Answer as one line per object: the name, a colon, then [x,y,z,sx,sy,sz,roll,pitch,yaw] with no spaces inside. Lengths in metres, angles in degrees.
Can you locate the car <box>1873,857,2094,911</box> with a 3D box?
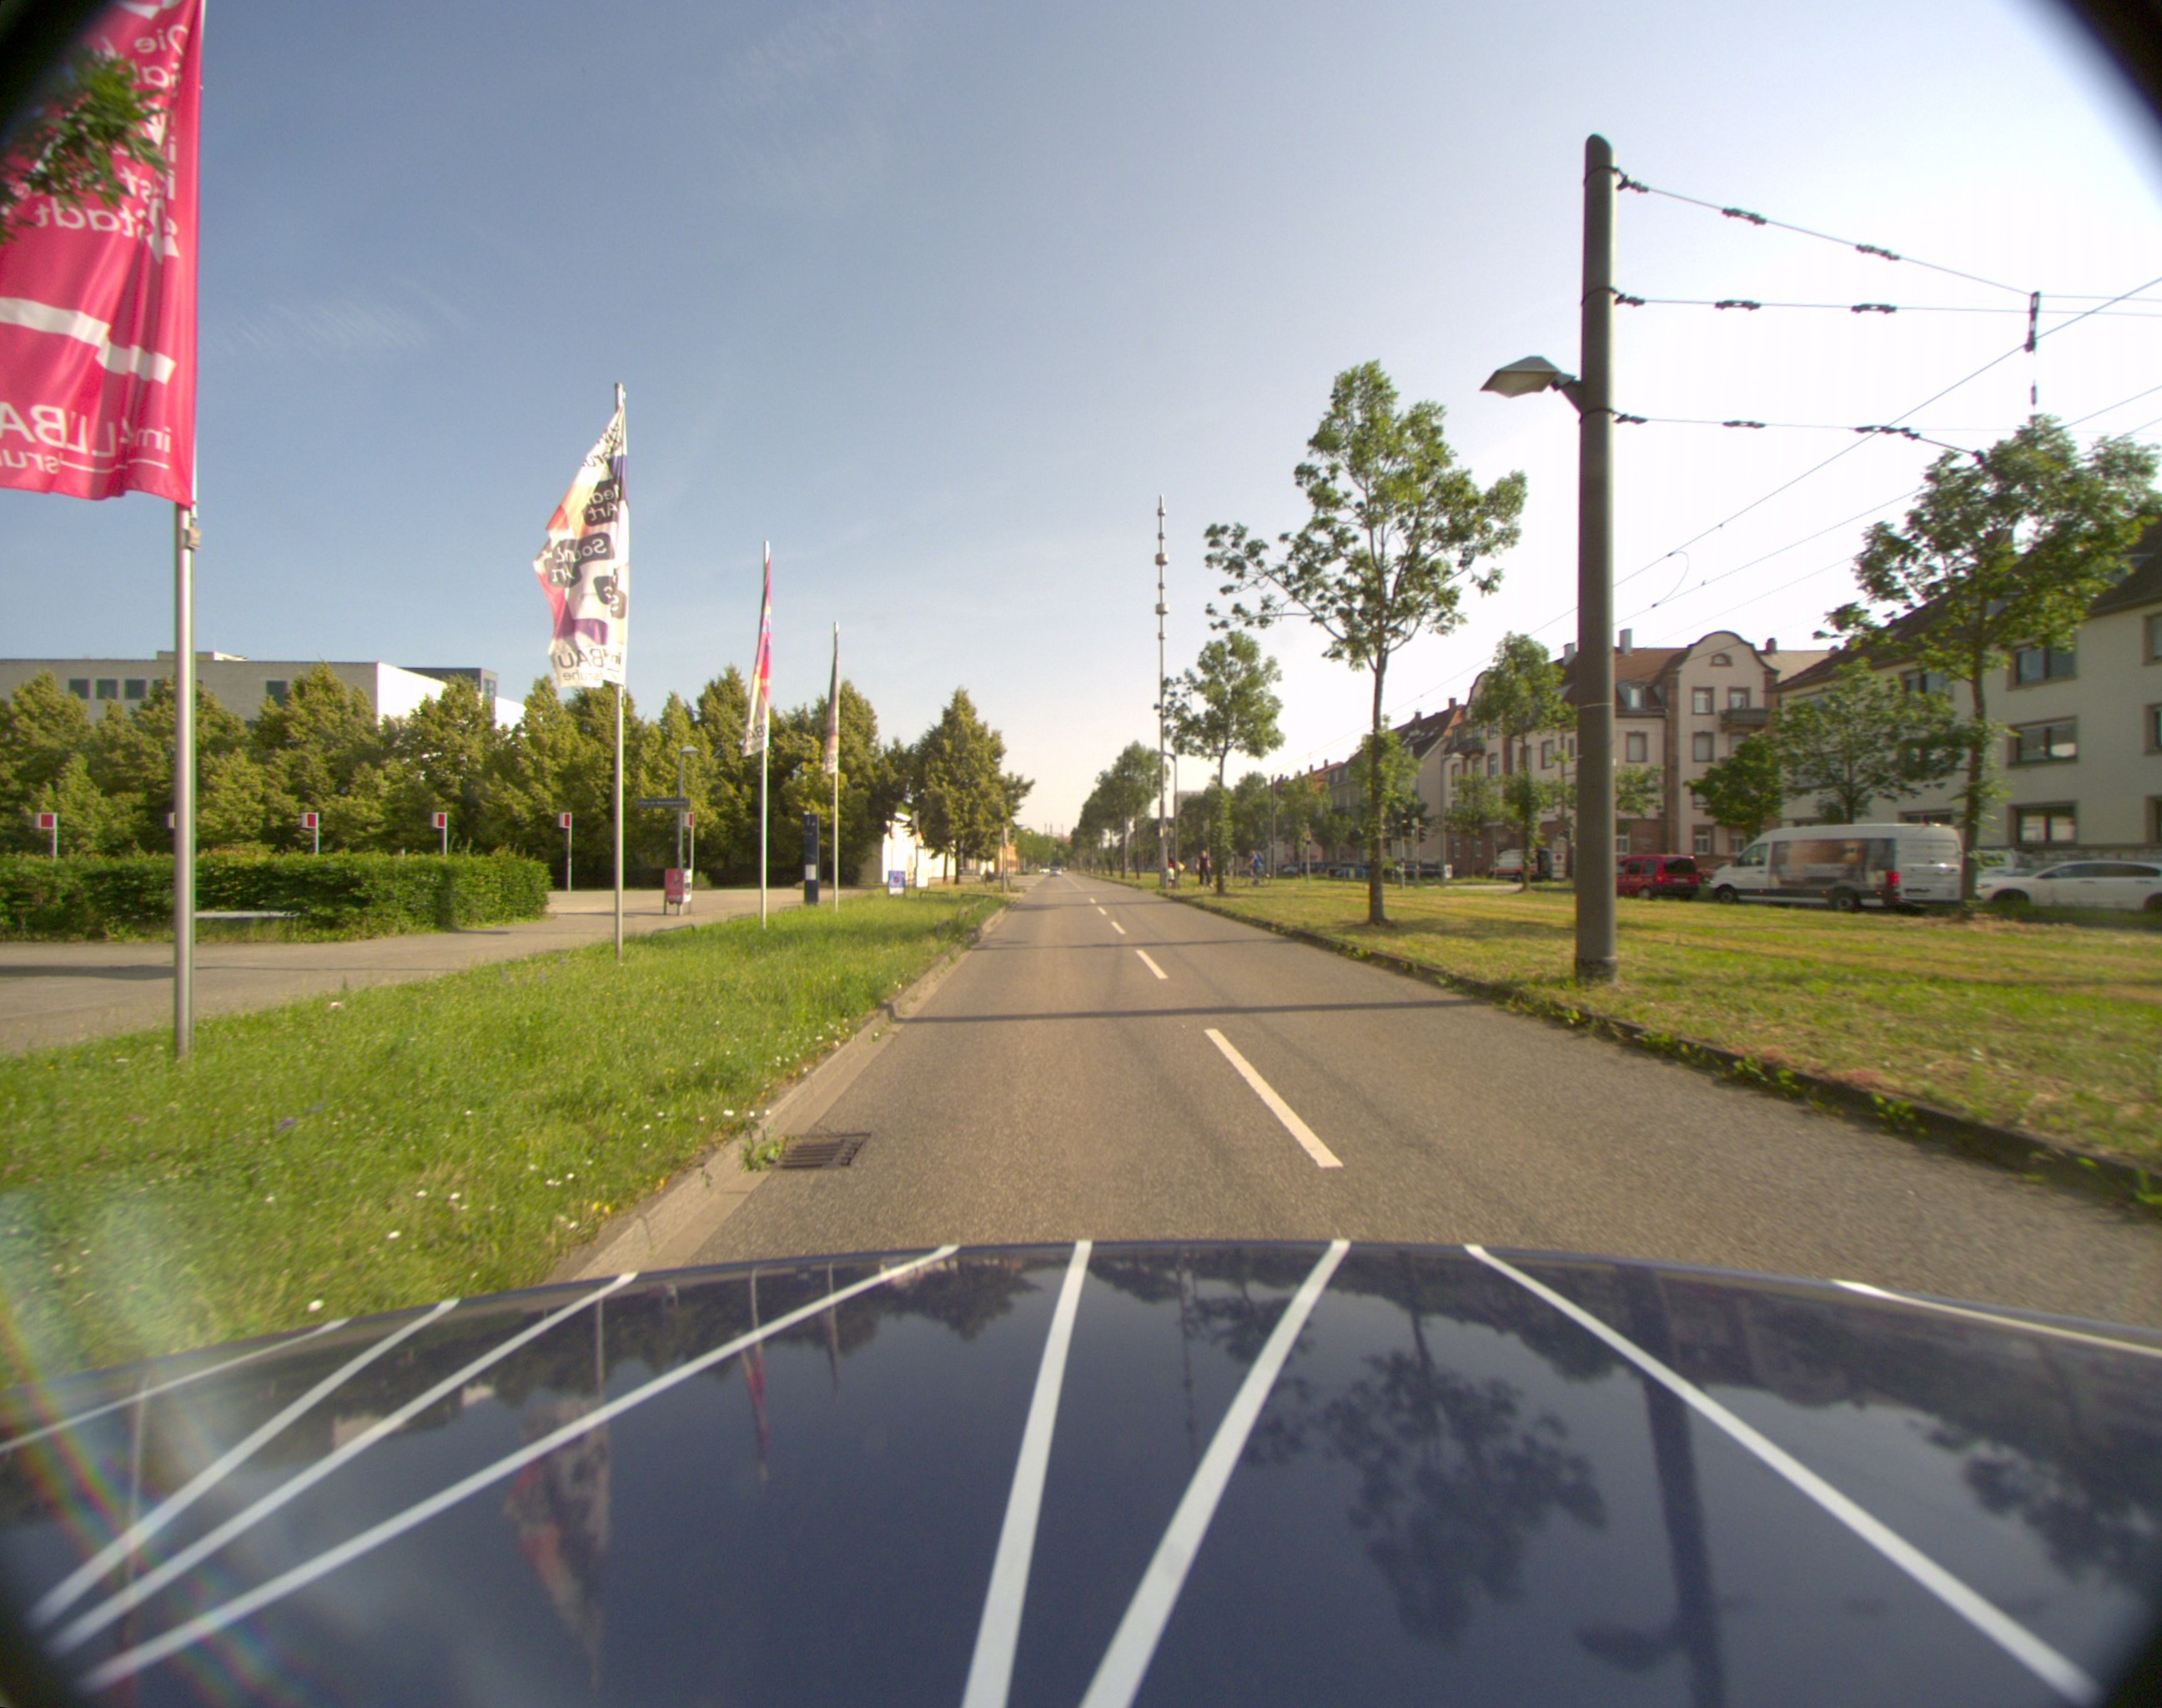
car: [27.888,0.923,23.707,4.088,1.520,1.816,-2,0,36]

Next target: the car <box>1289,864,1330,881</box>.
car: [24.724,2.011,82.187,3.990,1.696,1.878,-2,0,27]

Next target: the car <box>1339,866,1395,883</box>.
car: [26.171,1.911,69.639,4.504,1.432,2.004,-2,0,30]

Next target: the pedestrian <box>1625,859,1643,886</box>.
pedestrian: [35.886,1.203,49.311,0.670,1.738,0.633,-2,0,-1]

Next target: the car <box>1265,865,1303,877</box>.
car: [26.706,2.271,100.146,4.490,1.482,2.003,-2,0,27]

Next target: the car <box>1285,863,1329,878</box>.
car: [25.538,1.862,85.902,4.490,1.596,2.003,-2,0,27]

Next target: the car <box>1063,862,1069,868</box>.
car: [-4.677,3.378,237.636,1.999,1.652,4.000,0,-1,-2]

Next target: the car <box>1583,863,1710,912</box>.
car: [21.893,1.233,29.656,1.820,1.727,4.161,1,0,0]

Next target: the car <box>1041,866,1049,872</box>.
car: [-9.244,3.883,195.920,1.999,1.652,4.000,0,-1,-2]

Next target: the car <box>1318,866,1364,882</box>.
car: [25.989,2.008,75.988,4.054,1.545,1.919,-2,0,29]

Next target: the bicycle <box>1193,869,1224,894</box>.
bicycle: [5.942,1.271,35.365,0.575,1.139,1.756,0,0,41]

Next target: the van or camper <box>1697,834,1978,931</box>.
van or camper: [21.979,0.760,22.625,2.147,2.459,6.057,1,0,-2]

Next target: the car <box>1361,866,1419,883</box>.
car: [26.347,1.738,64.892,4.332,1.318,2.004,-2,0,30]

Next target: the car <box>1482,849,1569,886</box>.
car: [33.323,0.970,57.224,2.355,2.549,6.506,-2,0,-4]

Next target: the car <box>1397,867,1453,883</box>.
car: [26.936,1.674,59.539,3.840,1.121,1.772,-2,0,30]

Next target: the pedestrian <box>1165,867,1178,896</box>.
pedestrian: [4.226,1.260,35.371,0.456,1.350,0.549,0,0,24]

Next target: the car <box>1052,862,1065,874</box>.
car: [-3.425,2.131,116.460,1.999,1.652,4.000,0,-1,-2]

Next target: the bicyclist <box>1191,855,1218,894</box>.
bicyclist: [5.723,0.946,35.319,0.905,1.812,0.873,0,0,41]

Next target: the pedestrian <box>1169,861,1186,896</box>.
pedestrian: [4.577,1.155,35.941,0.610,1.594,0.736,0,0,24]

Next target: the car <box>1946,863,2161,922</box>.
car: [27.547,1.034,21.074,4.355,1.466,1.861,-2,0,36]

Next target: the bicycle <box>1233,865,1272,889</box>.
bicycle: [8.369,1.121,36.989,1.790,1.139,0.577,-2,0,16]

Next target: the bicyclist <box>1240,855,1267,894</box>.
bicyclist: [8.416,1.004,37.012,1.186,1.839,0.911,-2,0,16]

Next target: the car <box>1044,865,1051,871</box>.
car: [-9.395,3.942,213.990,1.999,1.652,4.000,0,-1,-2]
